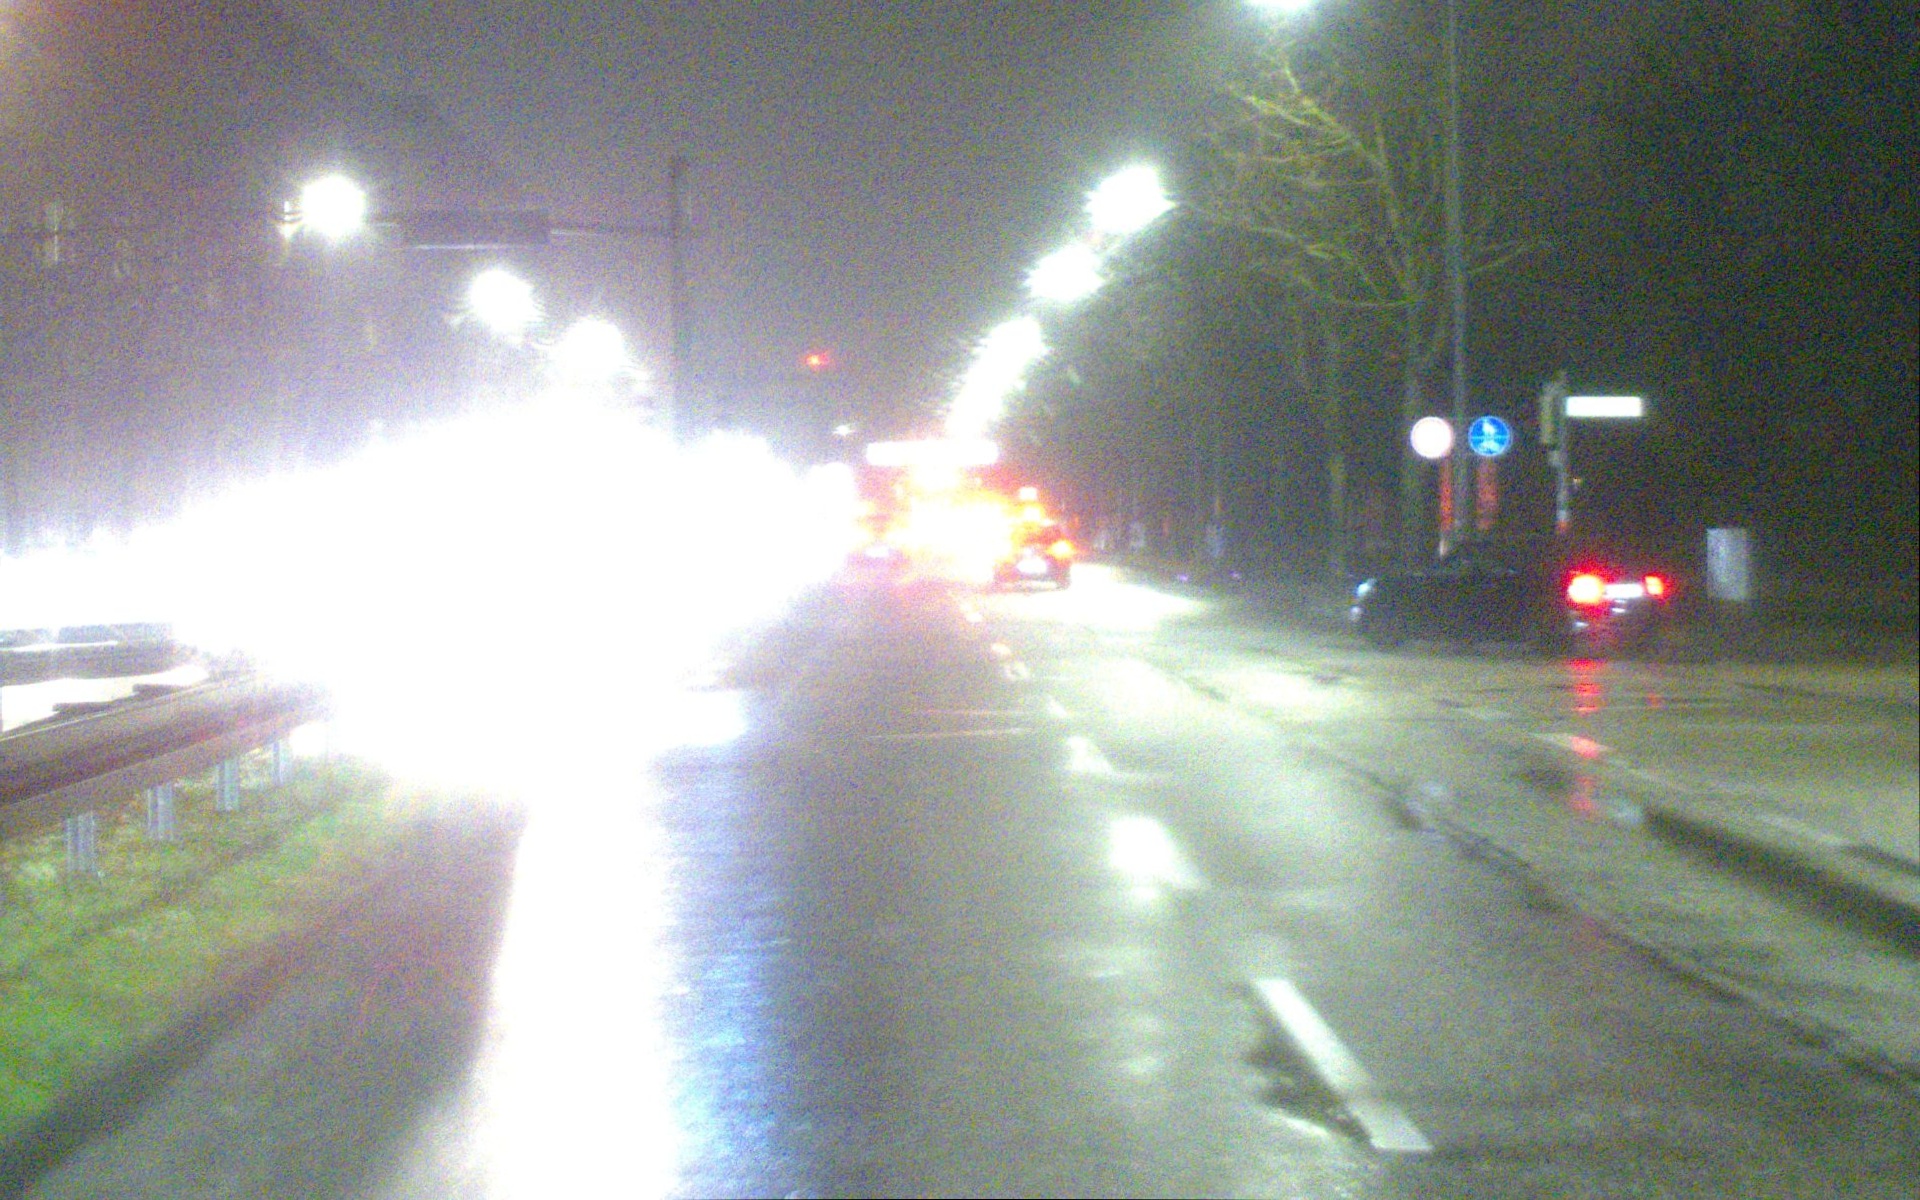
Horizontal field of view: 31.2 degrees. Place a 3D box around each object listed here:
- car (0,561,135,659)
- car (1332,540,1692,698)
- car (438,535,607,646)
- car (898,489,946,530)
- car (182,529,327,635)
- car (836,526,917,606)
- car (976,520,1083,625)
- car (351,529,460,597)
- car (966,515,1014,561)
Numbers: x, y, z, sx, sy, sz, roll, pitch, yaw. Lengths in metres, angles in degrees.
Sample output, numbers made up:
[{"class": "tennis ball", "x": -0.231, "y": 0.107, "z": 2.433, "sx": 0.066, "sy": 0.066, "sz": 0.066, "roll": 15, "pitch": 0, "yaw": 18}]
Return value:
[{"class": "car", "x": -14.891, "y": 0.144, "z": 56.375, "sx": 1.800, "sy": 1.559, "sz": 4.000, "roll": 0, "pitch": 0, "yaw": -1}, {"class": "car", "x": 6.517, "y": 0.200, "z": 40.877, "sx": 1.903, "sy": 1.774, "sz": 3.999, "roll": 0, "pitch": 0, "yaw": -38}, {"class": "car", "x": -6.601, "y": -0.160, "z": 52.360, "sx": 1.993, "sy": 1.604, "sz": 4.970, "roll": 0, "pitch": 0, "yaw": -1}, {"class": "car", "x": -2.119, "y": -5.036, "z": 191.278, "sx": 2.441, "sy": 2.186, "sz": 5.079, "roll": 0, "pitch": 0, "yaw": -3}, {"class": "car", "x": -12.090, "y": -0.317, "z": 59.123, "sx": 1.749, "sy": 1.703, "sz": 4.499, "roll": -2, "pitch": 1, "yaw": -3}, {"class": "car", "x": -2.114, "y": -0.867, "z": 87.970, "sx": 1.993, "sy": 2.007, "sz": 4.000, "roll": 0, "pitch": 0, "yaw": -1}, {"class": "car", "x": 1.471, "y": -0.598, "z": 74.417, "sx": 2.208, "sy": 2.207, "sz": 3.643, "roll": 0, "pitch": 0, "yaw": 0}, {"class": "car", "x": -13.015, "y": -0.865, "z": 80.926, "sx": 1.885, "sy": 1.547, "sz": 4.433, "roll": 0, "pitch": 0, "yaw": -1}, {"class": "car", "x": 1.328, "y": -2.707, "z": 150.936, "sx": 2.038, "sy": 2.007, "sz": 4.307, "roll": 0, "pitch": 0, "yaw": 1}]
